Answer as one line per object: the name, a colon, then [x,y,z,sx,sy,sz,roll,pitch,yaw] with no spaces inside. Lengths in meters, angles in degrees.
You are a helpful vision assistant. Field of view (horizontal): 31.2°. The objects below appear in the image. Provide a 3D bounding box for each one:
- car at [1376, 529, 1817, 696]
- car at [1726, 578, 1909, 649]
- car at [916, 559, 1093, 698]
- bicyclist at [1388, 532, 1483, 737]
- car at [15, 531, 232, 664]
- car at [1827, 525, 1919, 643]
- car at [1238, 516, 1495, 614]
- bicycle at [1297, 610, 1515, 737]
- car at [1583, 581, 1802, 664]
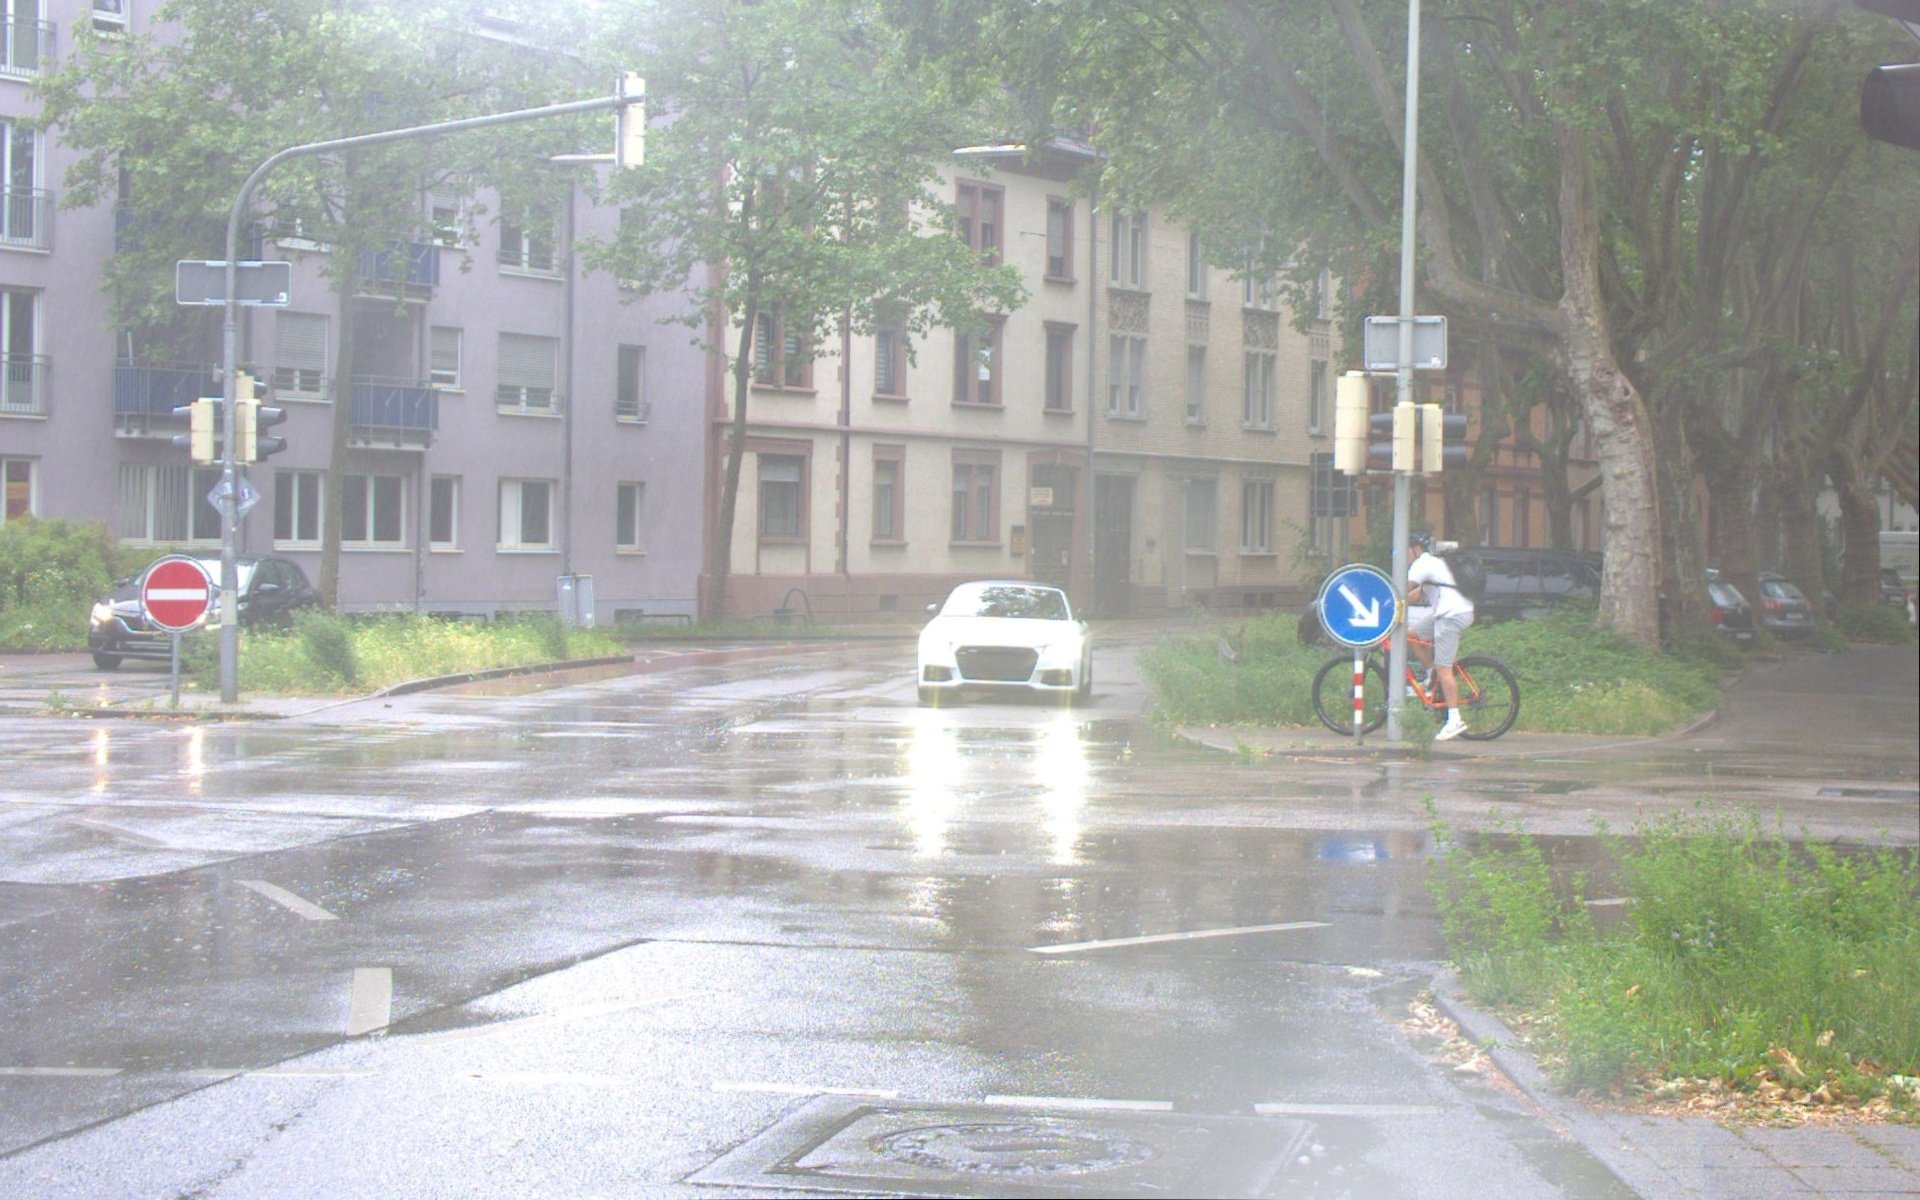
car: [6.068,0.098,32.743,3.989,1.481,1.999,1,1,12]
car: [19.577,0.303,78.670,3.989,1.542,1.999,1,1,12]
car: [0.535,0.284,39.083,1.884,1.431,4.000,1,1,1]
bicyclist: [4.200,0.295,30.379,0.795,1.780,0.697,1,0,8]
car: [-10.043,-0.066,41.514,1.751,1.506,3.839,1,1,-2]
car: [24.397,-0.420,87.732,2.033,2.938,4.773,1,1,-21]
car: [6.451,-0.556,54.427,3.868,1.481,1.715,1,0,12]
bicycle: [3.941,0.643,30.415,1.873,1.077,0.657,1,0,8]
car: [13.936,0.417,65.439,3.989,1.481,1.999,1,1,12]
